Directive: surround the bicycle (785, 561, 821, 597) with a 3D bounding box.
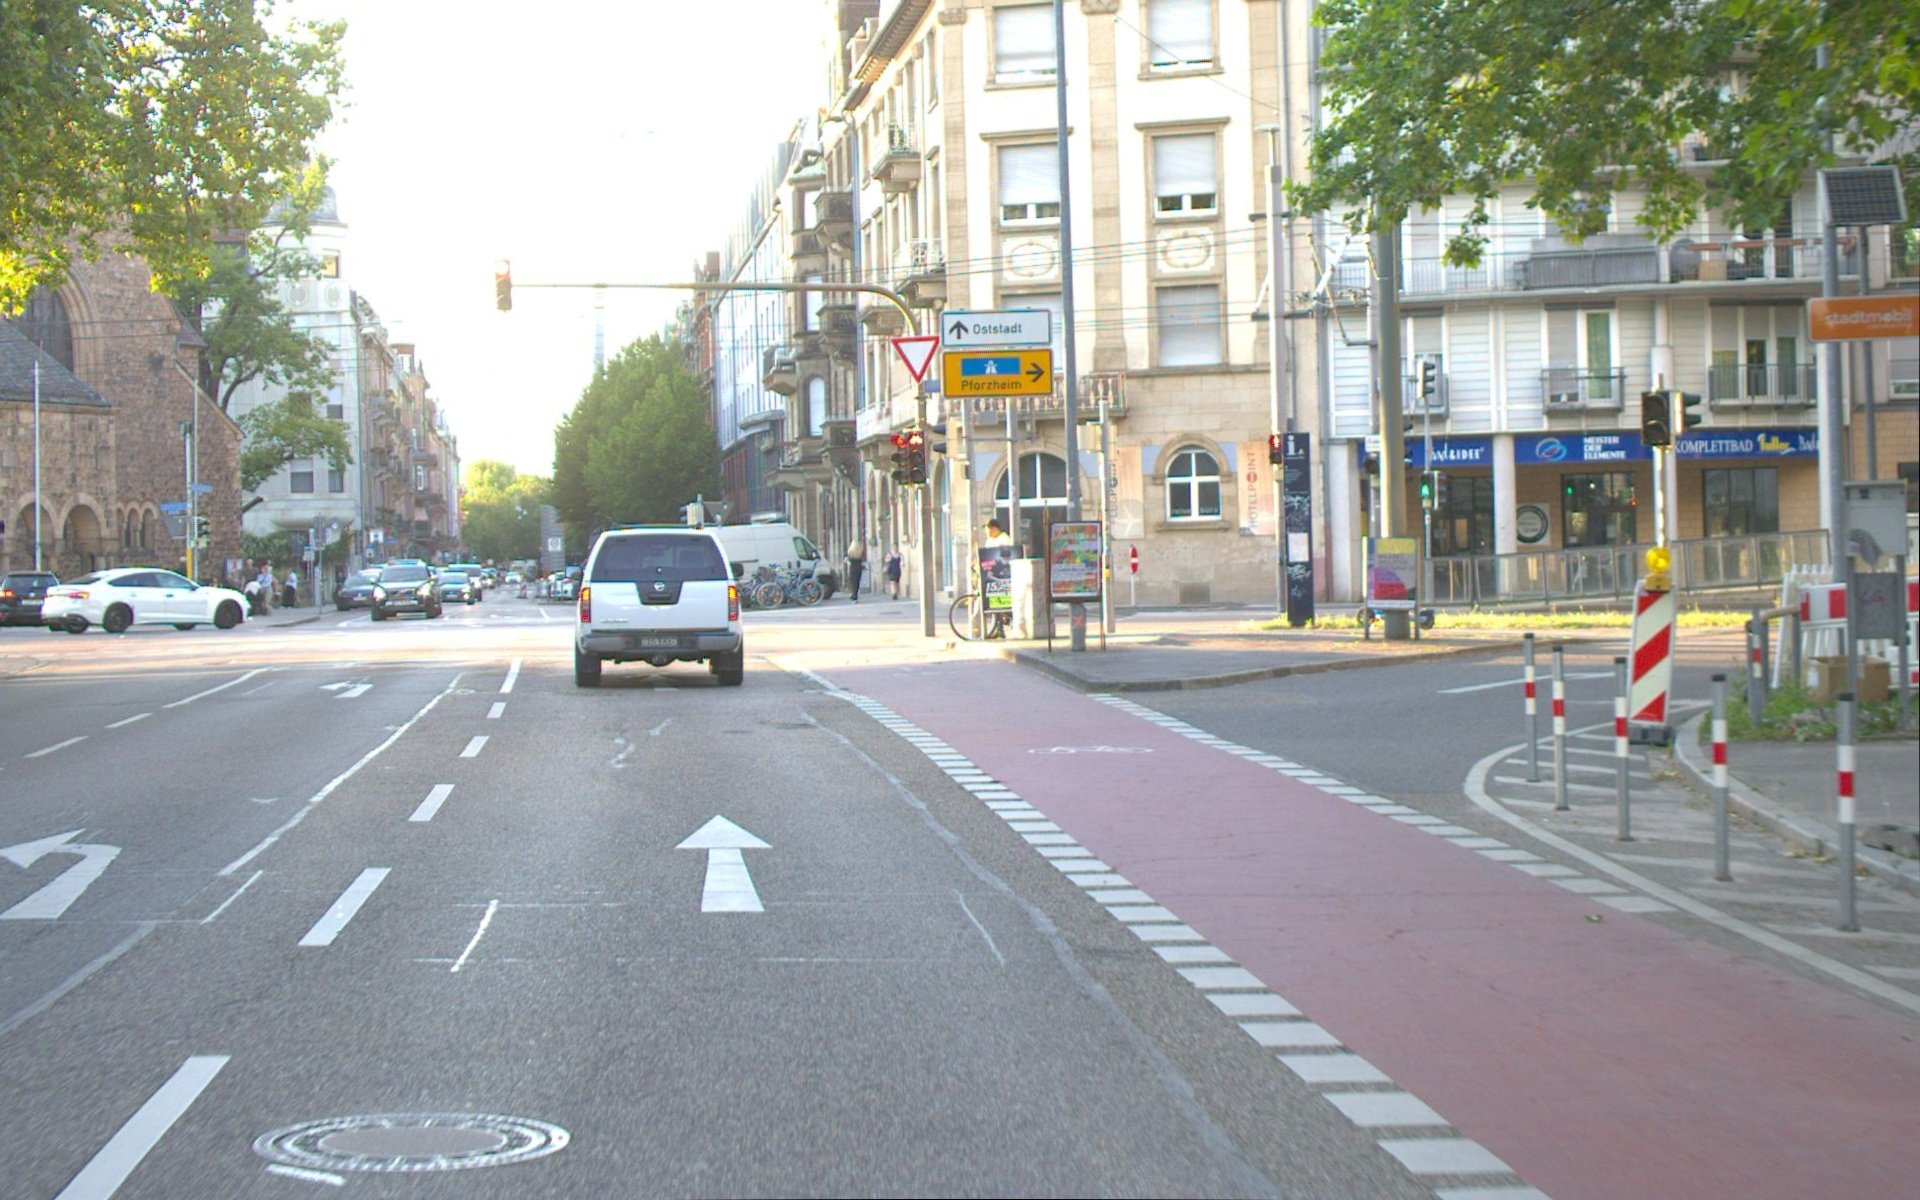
[{"bbox_3d":[-4.454,-0.601,97.462,0.544,0.965,1.920,-1,1,11],"label":"bicycle"}]

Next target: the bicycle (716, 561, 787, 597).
[{"bbox_3d":[-5.803,-0.585,95.675,1.914,0.965,0.546,-1,1,-12],"label":"bicycle"}]

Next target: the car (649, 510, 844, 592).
[{"bbox_3d":[-6.266,-1.461,101.468,2.071,2.280,5.808,0,1,44],"label":"car"}]

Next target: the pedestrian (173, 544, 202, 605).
[{"bbox_3d":[-23.856,-0.792,106.164,0.654,1.880,0.585,-1,1,9],"label":"pedestrian"}]

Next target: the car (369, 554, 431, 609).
[{"bbox_3d":[-17.212,-0.577,105.511,1.781,1.645,3.822,0,1,-11],"label":"car"}]

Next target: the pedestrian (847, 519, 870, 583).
[{"bbox_3d":[-2.817,-1.358,95.102,0.593,1.762,0.653,-1,1,-1],"label":"pedestrian"}]

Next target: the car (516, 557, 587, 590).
[{"bbox_3d":[-23.726,-1.568,199.511,3.986,1.809,2.001,-1,1,-8],"label":"car"}]

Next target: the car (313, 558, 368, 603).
[{"bbox_3d":[-22.911,-0.739,127.093,1.993,1.645,3.822,0,1,-11],"label":"car"}]

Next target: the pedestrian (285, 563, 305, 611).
[{"bbox_3d":[-26.611,-0.527,137.529,0.552,1.880,0.595,-1,1,9],"label":"pedestrian"}]

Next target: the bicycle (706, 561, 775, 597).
[{"bbox_3d":[-6.157,-0.595,96.461,1.914,0.965,0.546,-1,1,-4],"label":"bicycle"}]

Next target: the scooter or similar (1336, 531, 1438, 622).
[{"bbox_3d":[5.981,-0.327,48.190,0.544,1.246,1.389,-2,1,-42],"label":"scooter or similar"}]

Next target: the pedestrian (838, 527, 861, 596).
[{"bbox_3d":[-3.058,-1.072,95.444,0.593,1.880,0.647,-1,1,-1],"label":"pedestrian"}]

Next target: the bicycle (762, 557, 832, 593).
[{"bbox_3d":[-4.509,-0.688,95.029,1.914,0.965,0.546,-1,1,-4],"label":"bicycle"}]

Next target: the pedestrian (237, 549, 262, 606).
[{"bbox_3d":[-23.743,-0.756,114.869,0.593,1.880,0.553,-1,1,11],"label":"pedestrian"}]

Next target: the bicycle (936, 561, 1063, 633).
[{"bbox_3d":[0.556,-0.048,48.341,1.691,0.965,0.546,-1,1,-9],"label":"bicycle"}]

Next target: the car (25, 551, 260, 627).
[{"bbox_3d":[-17.868,-0.250,75.298,1.999,1.525,4.632,0,2,44],"label":"car"}]

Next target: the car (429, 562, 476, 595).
[{"bbox_3d":[-23.275,-1.003,157.563,1.993,1.501,3.822,0,1,-11],"label":"car"}]

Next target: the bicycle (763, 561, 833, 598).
[{"bbox_3d":[-4.495,-0.577,95.311,1.914,0.965,0.546,-1,1,-4],"label":"bicycle"}]

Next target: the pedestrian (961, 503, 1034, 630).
[{"bbox_3d":[0.534,-0.478,48.834,0.794,1.762,0.721,-2,1,-20],"label":"pedestrian"}]

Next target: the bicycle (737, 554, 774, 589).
[{"bbox_3d":[-5.818,-0.808,97.821,0.544,0.965,1.920,-1,1,11],"label":"bicycle"}]

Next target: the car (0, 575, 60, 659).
[{"bbox_3d":[-22.608,0.390,82.023,2.077,1.835,4.633,-2,2,-16],"label":"car"}]

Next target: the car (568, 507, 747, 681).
[{"bbox_3d":[-3.423,-0.093,39.242,1.866,1.808,4.001,-2,1,-4],"label":"car"}]

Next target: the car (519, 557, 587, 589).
[{"bbox_3d":[-24.632,-1.632,208.008,3.986,1.809,2.001,-1,1,-8],"label":"car"}]

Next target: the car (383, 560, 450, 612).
[{"bbox_3d":[-17.320,-0.463,109.463,1.993,1.645,3.822,0,1,-11],"label":"car"}]

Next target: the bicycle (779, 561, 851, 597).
[{"bbox_3d":[-4.066,-0.582,96.118,1.916,0.965,0.545,-1,1,12],"label":"bicycle"}]

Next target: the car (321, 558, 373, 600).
[{"bbox_3d":[-24.045,-0.827,134.760,1.993,1.645,3.822,0,1,-11],"label":"car"}]
